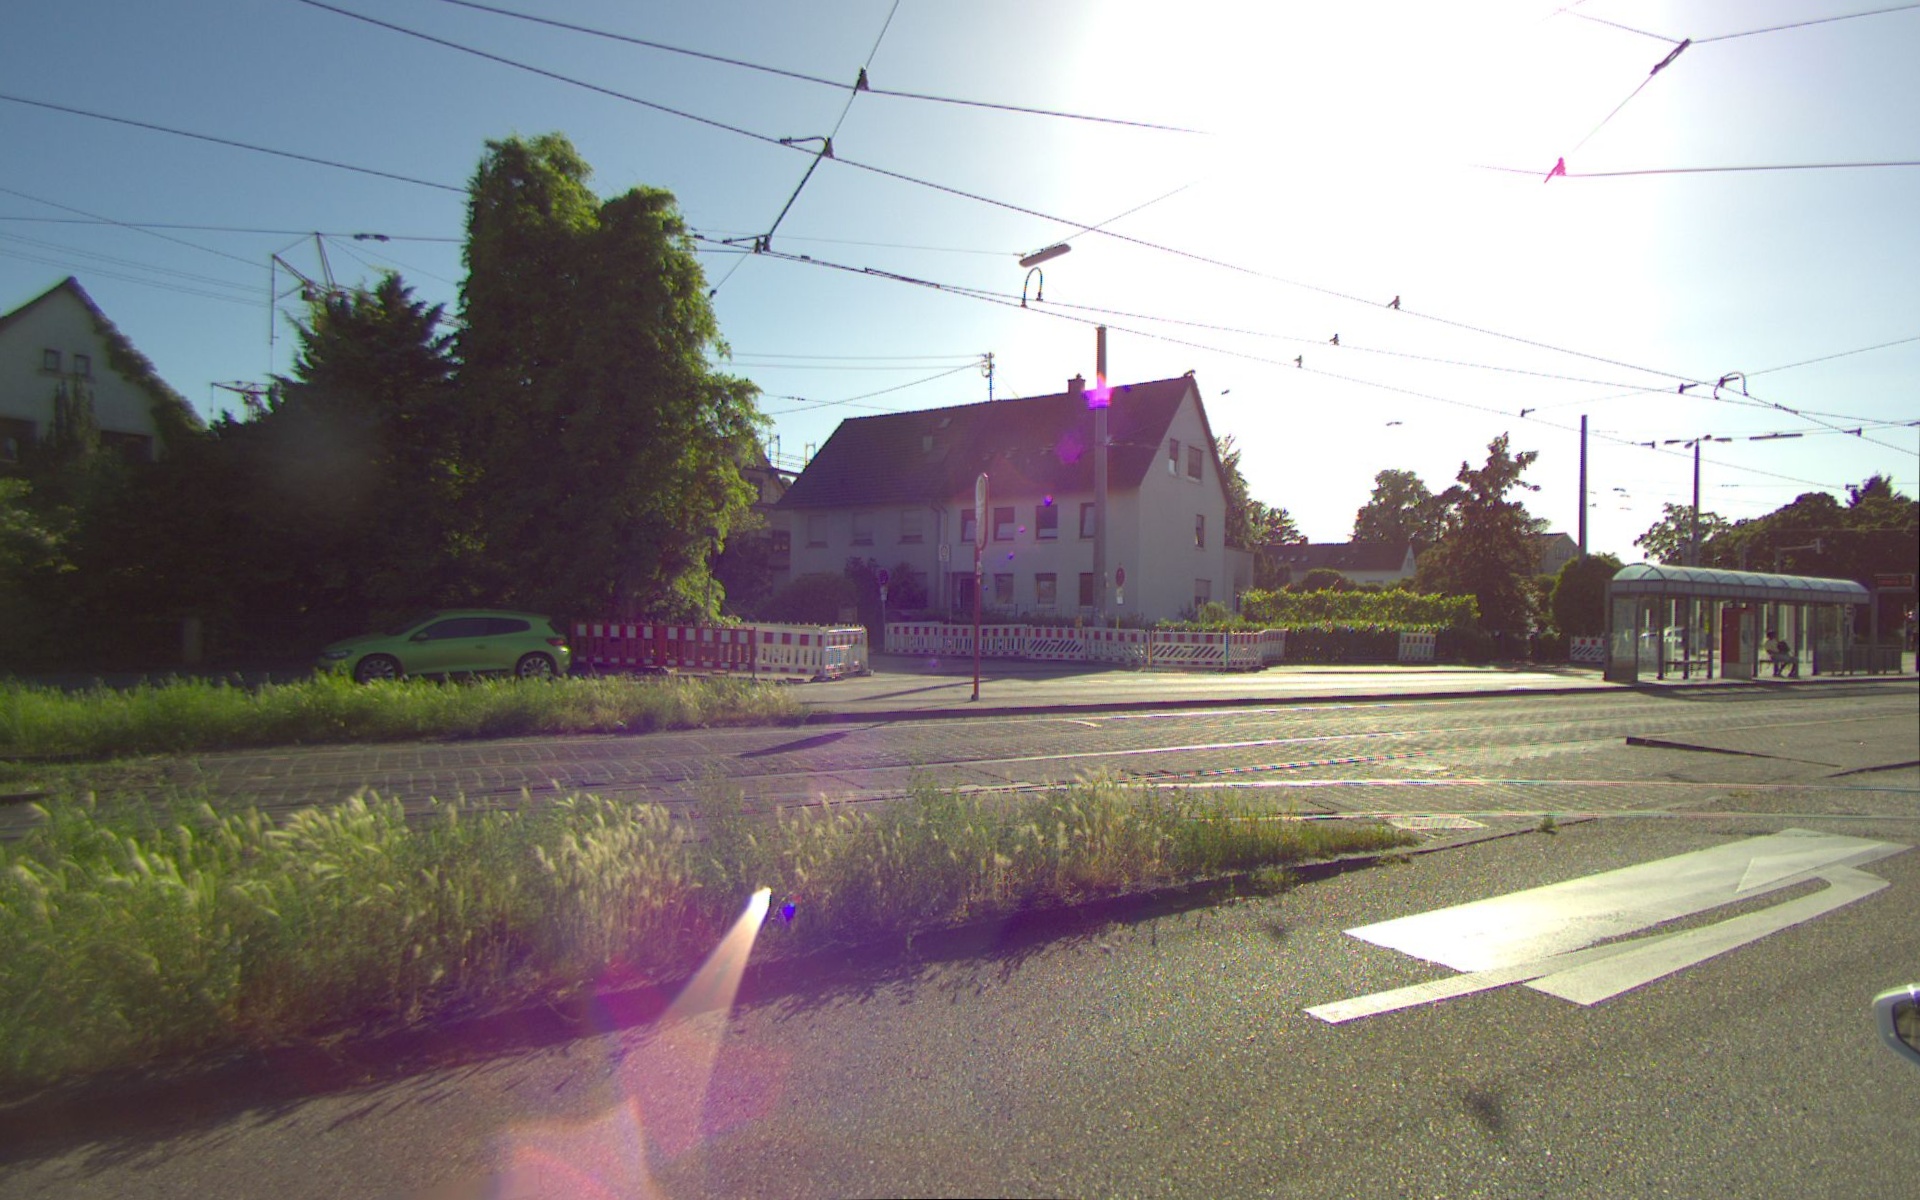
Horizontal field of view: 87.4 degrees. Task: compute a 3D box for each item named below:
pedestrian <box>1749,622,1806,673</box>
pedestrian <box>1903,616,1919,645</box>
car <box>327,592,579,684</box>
[{"bbox_3d":[24.508,1.422,30.118,0.995,1.472,1.055,2,-1,-30],"label":"pedestrian"},{"bbox_3d":[67.007,2.146,70.763,0.785,2.040,0.741,1,-1,-41],"label":"pedestrian"},{"bbox_3d":[-9.462,0.692,18.856,4.023,1.521,1.983,2,1,-32],"label":"car"}]
